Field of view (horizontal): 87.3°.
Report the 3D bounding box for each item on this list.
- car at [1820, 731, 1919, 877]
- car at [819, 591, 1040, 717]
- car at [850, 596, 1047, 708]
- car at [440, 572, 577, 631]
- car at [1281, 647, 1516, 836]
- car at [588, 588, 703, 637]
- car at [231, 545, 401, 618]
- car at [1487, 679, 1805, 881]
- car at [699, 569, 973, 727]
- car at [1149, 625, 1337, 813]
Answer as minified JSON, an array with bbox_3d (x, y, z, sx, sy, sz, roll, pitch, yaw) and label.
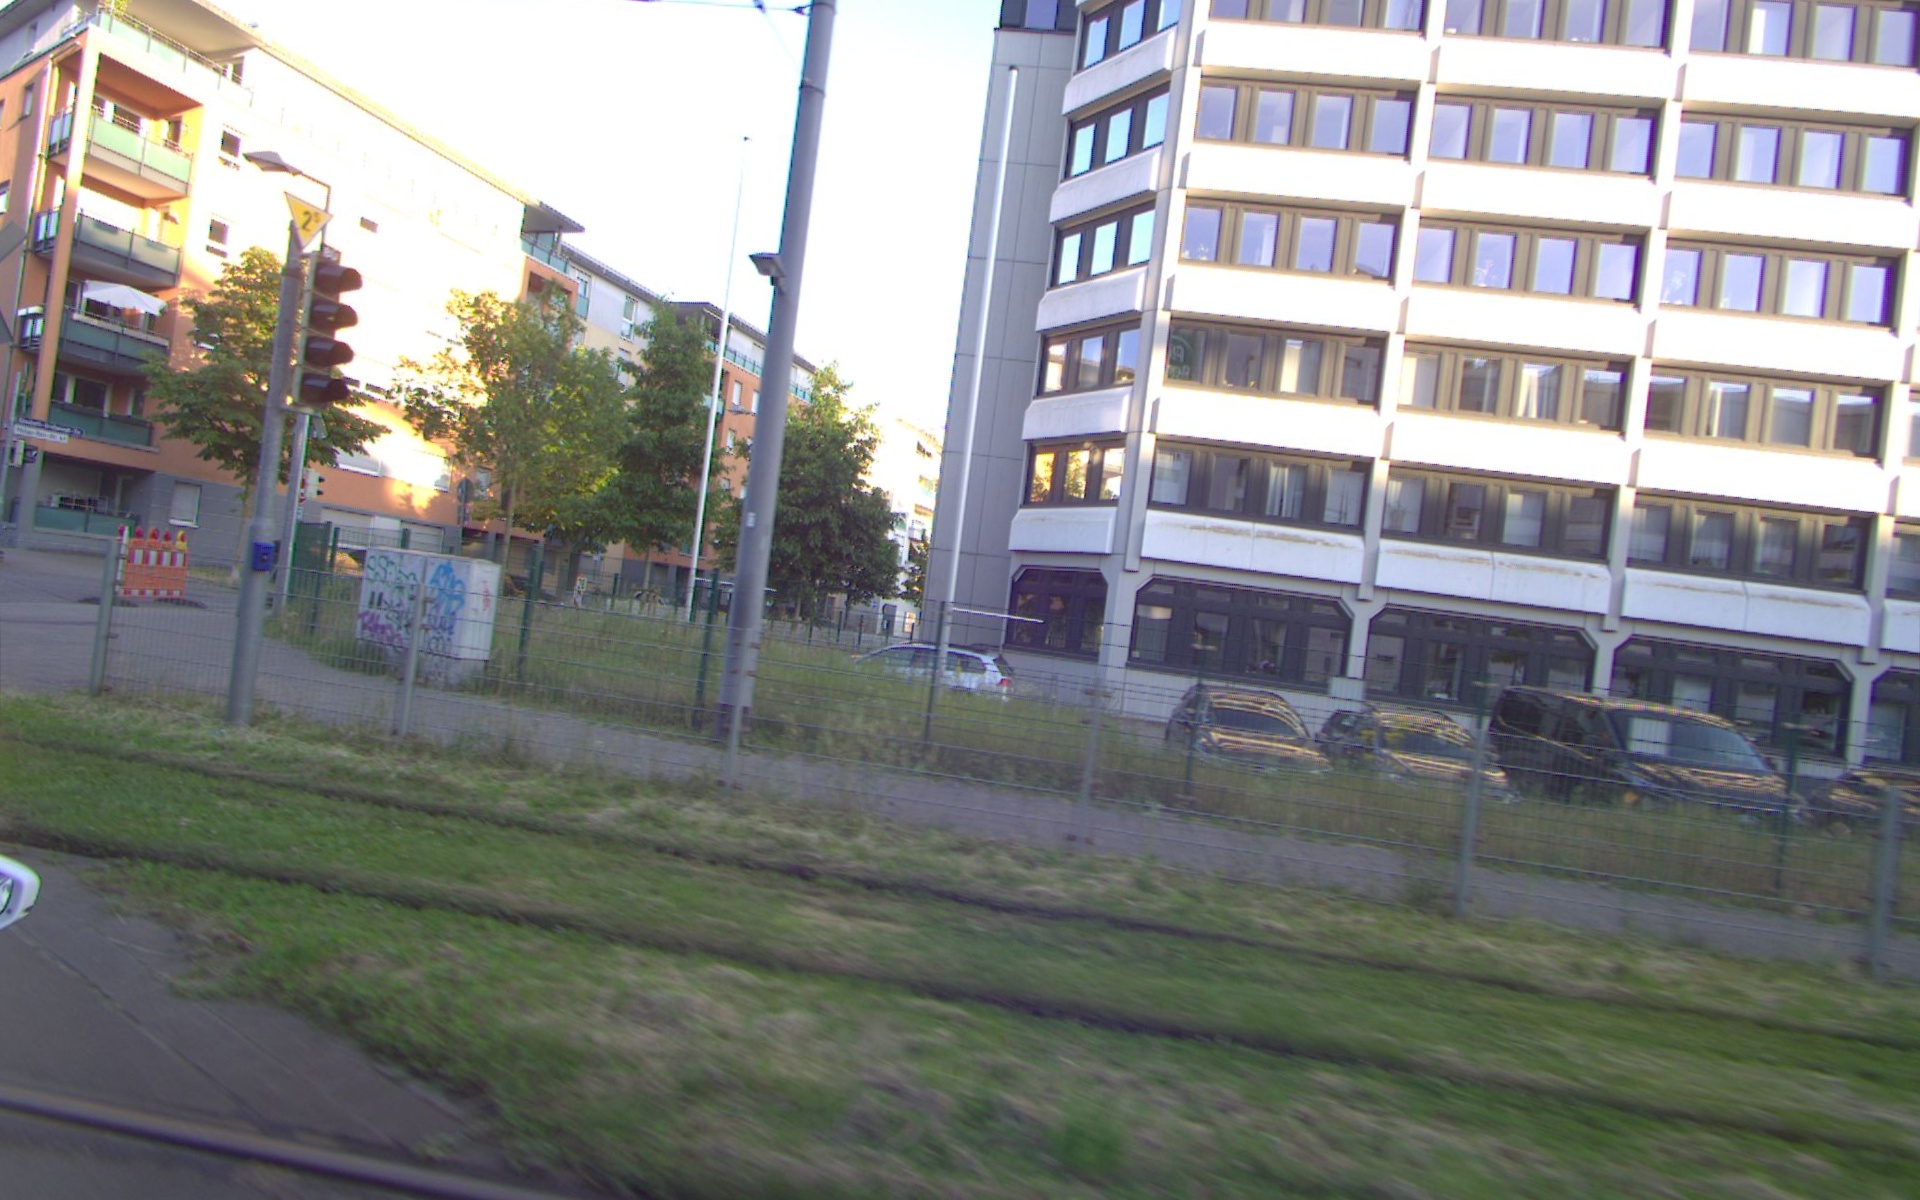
[{"bbox_3d":[13.525,2.831,12.833,1.962,1.770,4.005,7,-2,10],"label":"car"},{"bbox_3d":[-0.643,1.104,20.829,3.933,2.037,1.997,6,-2,31],"label":"car"},{"bbox_3d":[-0.288,1.199,23.369,3.933,2.037,1.997,6,-2,31],"label":"car"},{"bbox_3d":[-17.247,0.061,38.444,4.727,1.613,2.000,6,-1,23],"label":"car"},{"bbox_3d":[5.991,1.839,14.323,1.962,2.037,4.005,7,-2,10],"label":"car"},{"bbox_3d":[-14.449,0.589,46.235,4.725,1.613,2.001,6,-1,21],"label":"car"},{"bbox_3d":[-19.959,-0.570,31.178,4.727,1.612,2.001,6,-2,23],"label":"car"},{"bbox_3d":[9.161,2.274,13.918,1.962,2.037,4.005,7,-2,10],"label":"car"},{"bbox_3d":[-2.084,0.774,16.696,3.933,2.037,1.997,6,-2,31],"label":"car"},{"bbox_3d":[3.836,1.564,14.347,1.962,2.037,4.005,7,-2,10],"label":"car"}]
